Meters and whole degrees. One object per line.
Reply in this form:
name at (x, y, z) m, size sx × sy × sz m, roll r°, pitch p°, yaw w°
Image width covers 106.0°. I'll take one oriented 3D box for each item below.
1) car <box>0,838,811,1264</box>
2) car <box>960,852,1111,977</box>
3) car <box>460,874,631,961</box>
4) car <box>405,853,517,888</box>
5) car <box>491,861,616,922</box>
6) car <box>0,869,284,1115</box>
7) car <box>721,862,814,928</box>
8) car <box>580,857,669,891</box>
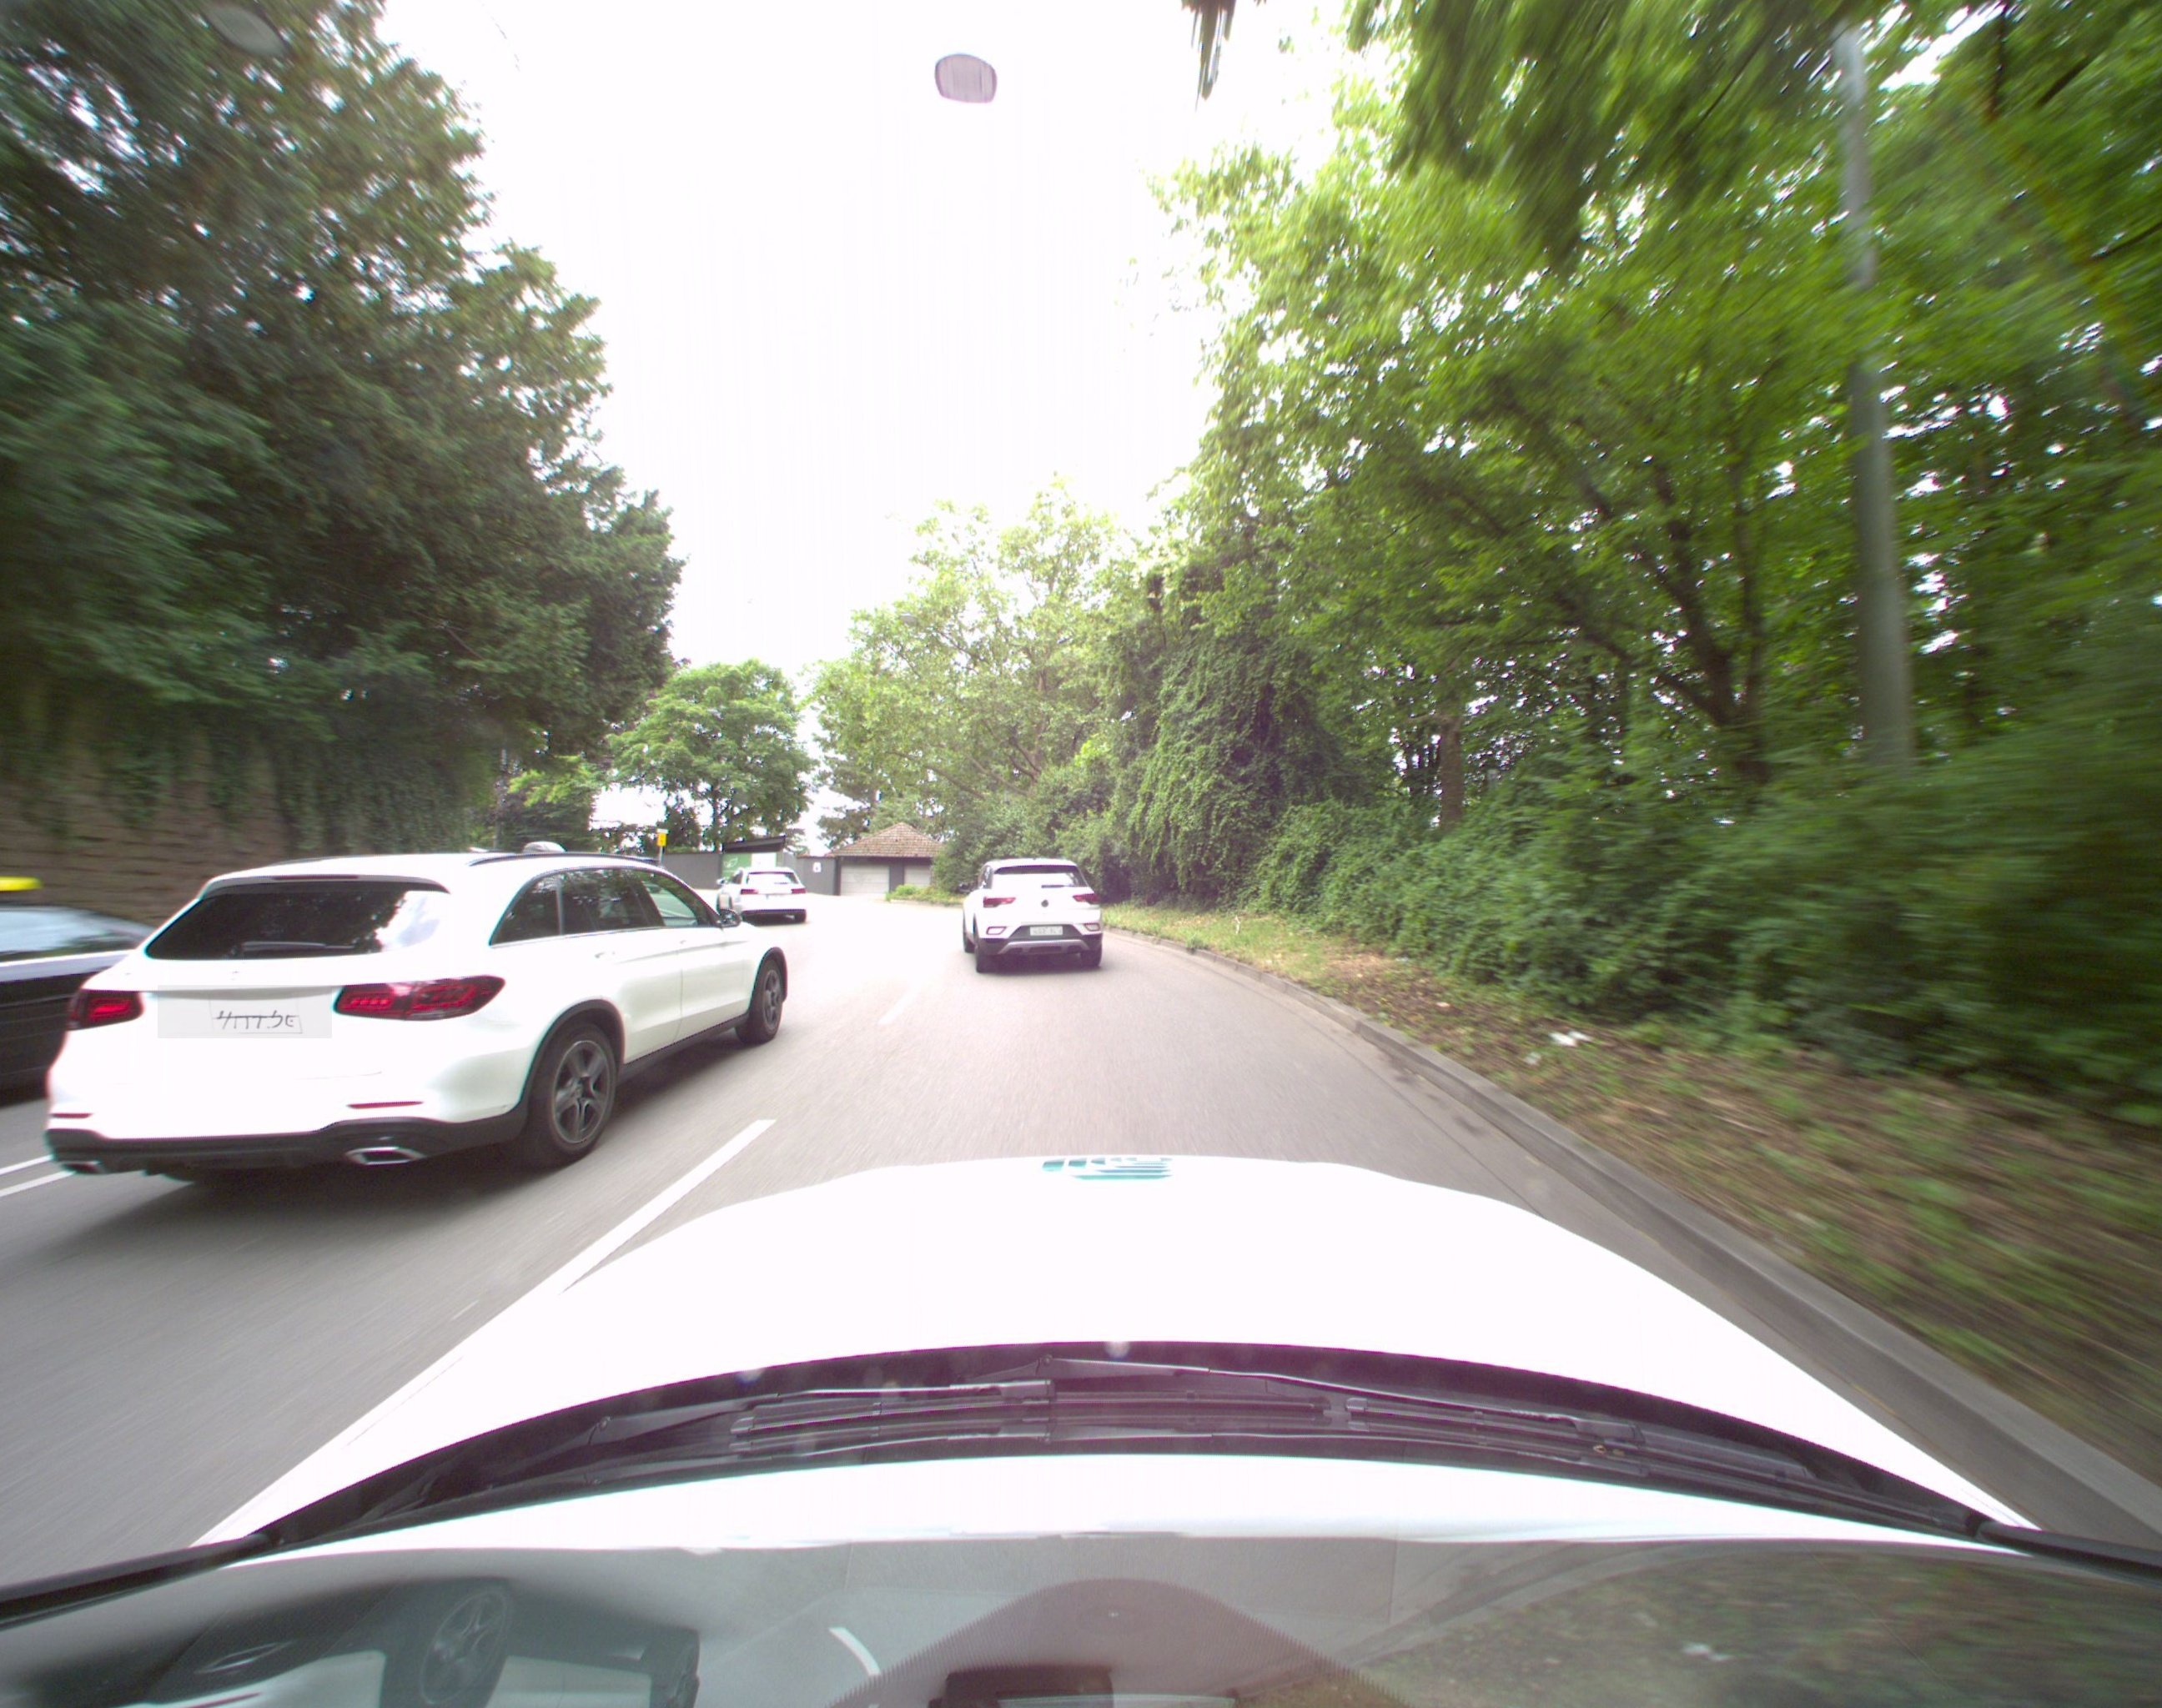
car at (-3.540, 0.806, 5.553) m, size 1.853 × 1.605 × 4.668 m, roll -2°, pitch -1°, yaw -1°
car at (-0.904, 0.809, 12.875) m, size 1.755 × 1.553 × 4.320 m, roll -2°, pitch 0°, yaw -11°
car at (-9.926, 1.091, 15.446) m, size 1.776 × 1.339 × 3.934 m, roll -1°, pitch -1°, yaw -19°
car at (-26.259, 0.666, 34.509) m, size 4.247 × 1.440 × 1.671 m, roll 0°, pitch 0°, yaw 18°
car at (-15.894, 1.071, 24.460) m, size 4.330 × 1.653 × 1.786 m, roll -1°, pitch 0°, yaw 37°
car at (-7.938, 0.907, 4.889) m, size 1.858 × 1.597 × 4.625 m, roll -1°, pitch -1°, yaw -2°
car at (-8.645, 1.028, 22.223) m, size 1.875 × 1.534 × 4.734 m, roll -2°, pitch 0°, yaw -27°
car at (-20.711, 0.903, 36.940) m, size 3.806 × 1.420 × 1.643 m, roll 1°, pitch -3°, yaw 27°
